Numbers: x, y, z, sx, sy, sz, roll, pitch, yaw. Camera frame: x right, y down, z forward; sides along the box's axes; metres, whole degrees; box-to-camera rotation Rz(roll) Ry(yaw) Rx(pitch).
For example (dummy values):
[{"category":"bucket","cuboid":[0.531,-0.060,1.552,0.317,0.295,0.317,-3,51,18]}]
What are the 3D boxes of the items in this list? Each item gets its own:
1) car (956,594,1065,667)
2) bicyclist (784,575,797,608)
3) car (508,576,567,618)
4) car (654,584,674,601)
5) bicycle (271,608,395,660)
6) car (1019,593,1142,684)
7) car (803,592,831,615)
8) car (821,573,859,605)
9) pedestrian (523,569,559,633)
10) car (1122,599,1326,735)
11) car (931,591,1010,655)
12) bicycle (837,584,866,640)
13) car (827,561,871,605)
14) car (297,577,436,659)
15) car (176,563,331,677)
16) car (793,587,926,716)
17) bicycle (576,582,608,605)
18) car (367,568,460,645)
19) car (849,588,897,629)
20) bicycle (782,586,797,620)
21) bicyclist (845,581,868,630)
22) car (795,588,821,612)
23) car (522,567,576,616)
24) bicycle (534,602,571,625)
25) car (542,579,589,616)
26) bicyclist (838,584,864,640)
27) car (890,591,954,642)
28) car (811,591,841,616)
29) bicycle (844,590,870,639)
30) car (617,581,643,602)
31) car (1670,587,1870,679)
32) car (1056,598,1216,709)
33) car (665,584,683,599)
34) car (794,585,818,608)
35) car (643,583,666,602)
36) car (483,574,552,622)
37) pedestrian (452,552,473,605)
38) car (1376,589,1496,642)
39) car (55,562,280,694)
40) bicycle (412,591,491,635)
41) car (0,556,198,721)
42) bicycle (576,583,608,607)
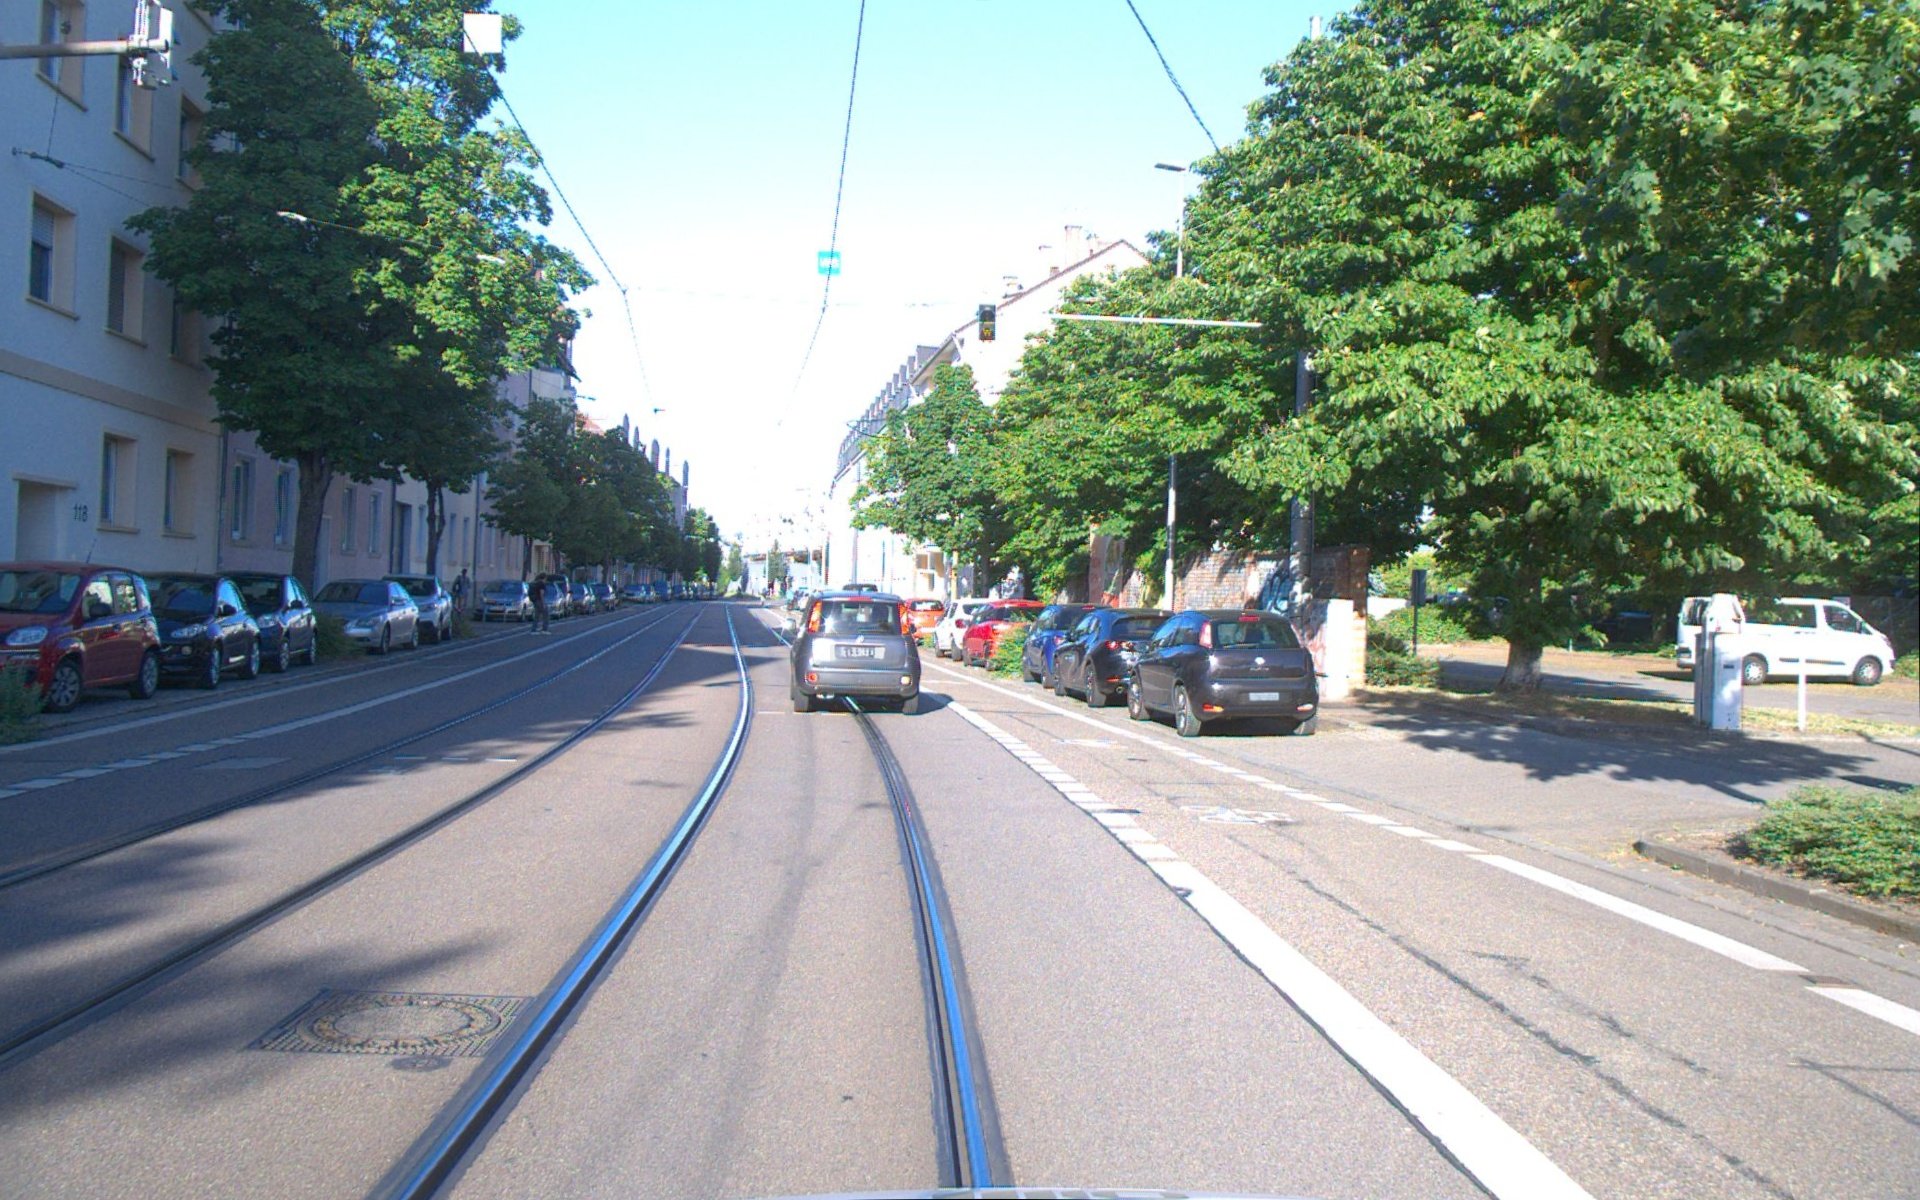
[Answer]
[{"category":"car","cuboid":[1.089,0.665,37.731,1.658,1.557,3.990,1,0,-11]},{"category":"bicyclist","cuboid":[-10.630,-0.544,103.695,0.702,2.049,0.830,3,0,-9]},{"category":"car","cuboid":[-17.120,-0.131,67.220,1.775,1.534,4.672,3,0,-8]},{"category":"car","cuboid":[-28.334,-0.721,158.386,1.675,1.523,3.716,3,0,-7]},{"category":"bicycle","cuboid":[-11.764,0.637,31.079,2.088,0.839,0.476,3,0,-9]},{"category":"car","cuboid":[2.172,0.659,30.727,1.656,1.557,3.996,1,0,-5]},{"category":"car","cuboid":[-9.747,0.231,112.596,1.554,1.430,3.369,3,0,-9]},{"category":"car","cuboid":[-6.183,-0.551,84.836,1.625,1.526,3.123,3,0,-9]},{"category":"pedestrian","cuboid":[-12.028,0.025,47.468,0.840,1.808,0.728,1,1,-28]},{"category":"car","cuboid":[3.260,0.780,21.176,1.656,1.557,3.996,1,0,-5]},{"category":"car","cuboid":[0.227,0.555,42.866,1.656,1.557,3.996,1,0,-5]},{"category":"bicycle","cuboid":[-3.553,0.377,53.813,0.662,1.777,2.153,3,0,-9]},{"category":"car","cuboid":[-5.406,-0.797,79.993,1.625,1.978,4.655,3,0,-9]},{"category":"car","cuboid":[-12.268,0.343,34.459,1.657,1.501,4.653,3,0,-7]},{"category":"car","cuboid":[-11.314,0.287,26.690,1.563,1.642,3.719,3,0,-13]},{"category":"car","cuboid":[-1.384,0.618,22.314,1.617,1.568,4.231,0,0,-4]},{"category":"bicycle","cuboid":[-20.705,-0.348,93.169,1.698,1.217,0.371,3,0,-12]},{"category":"car","cuboid":[-13.158,0.131,40.020,1.623,1.697,4.283,3,0,-12]},{"category":"car","cuboid":[-3.752,0.347,70.671,1.625,1.598,3.492,3,0,-9]},{"category":"bicycle","cuboid":[-10.682,0.151,103.625,0.728,2.048,2.806,3,0,-9]},{"category":"bicyclist","cuboid":[-3.860,0.208,61.767,0.686,1.789,0.756,3,0,-9]},{"category":"car","cuboid":[-10.941,-0.034,119.186,1.554,1.626,3.369,3,0,-9]},{"category":"car","cuboid":[-18.097,-0.386,73.016,1.775,1.977,4.325,3,0,-8]},{"category":"bicycle","cuboid":[-18.898,0.622,76.754,1.603,0.953,0.515,3,0,-13]},{"category":"car","cuboid":[-19.166,-0.121,80.549,1.775,1.647,4.056,3,0,-8]},{"category":"bicyclist","cuboid":[-3.561,0.388,53.789,0.686,1.789,0.756,3,0,-9]},{"category":"car","cuboid":[-1.232,0.496,52.344,1.605,1.534,3.391,0,0,-8]},{"category":"car","cuboid":[-8.174,0.216,100.824,1.554,1.430,3.369,-1,1,-9]},{"category":"bicycle","cuboid":[-3.849,0.530,61.811,0.662,1.777,2.153,3,0,-9]},{"category":"car","cuboid":[-25.897,-0.685,129.993,1.675,1.523,3.716,3,0,-7]},{"category":"car","cuboid":[18.951,0.758,38.769,3.835,1.893,1.804,3,0,-9]},{"category":"car","cuboid":[2.632,0.757,25.666,1.656,1.557,4.351,1,0,-5]},{"category":"car","cuboid":[-30.082,-0.874,173.944,1.675,1.523,3.716,3,0,-7]},{"category":"car","cuboid":[-11.758,-0.279,126.283,1.554,1.626,3.369,3,0,-9]},{"category":"car","cuboid":[-26.662,-0.663,144.326,1.675,1.523,3.716,3,0,-7]},{"category":"car","cuboid":[-15.516,-0.096,58.128,1.775,1.534,4.183,3,0,-8]},{"category":"pedestrian","cuboid":[-17.675,-0.757,58.753,0.526,1.858,0.541,3,0,-9]},{"category":"car","cuboid":[18.214,0.578,63.412,3.911,1.802,1.997,3,0,-7]},{"category":"car","cuboid":[-10.674,0.340,22.570,1.754,1.556,3.848,3,0,-11]},{"category":"bicycle","cuboid":[-13.509,0.338,43.991,1.888,1.064,0.476,3,0,-8]},{"category":"car","cuboid":[-9.982,0.337,18.048,1.656,1.556,3.996,4,0,-5]},{"category":"bicycle","cuboid":[-20.634,-0.290,92.752,1.698,1.217,0.371,3,0,-12]}]
